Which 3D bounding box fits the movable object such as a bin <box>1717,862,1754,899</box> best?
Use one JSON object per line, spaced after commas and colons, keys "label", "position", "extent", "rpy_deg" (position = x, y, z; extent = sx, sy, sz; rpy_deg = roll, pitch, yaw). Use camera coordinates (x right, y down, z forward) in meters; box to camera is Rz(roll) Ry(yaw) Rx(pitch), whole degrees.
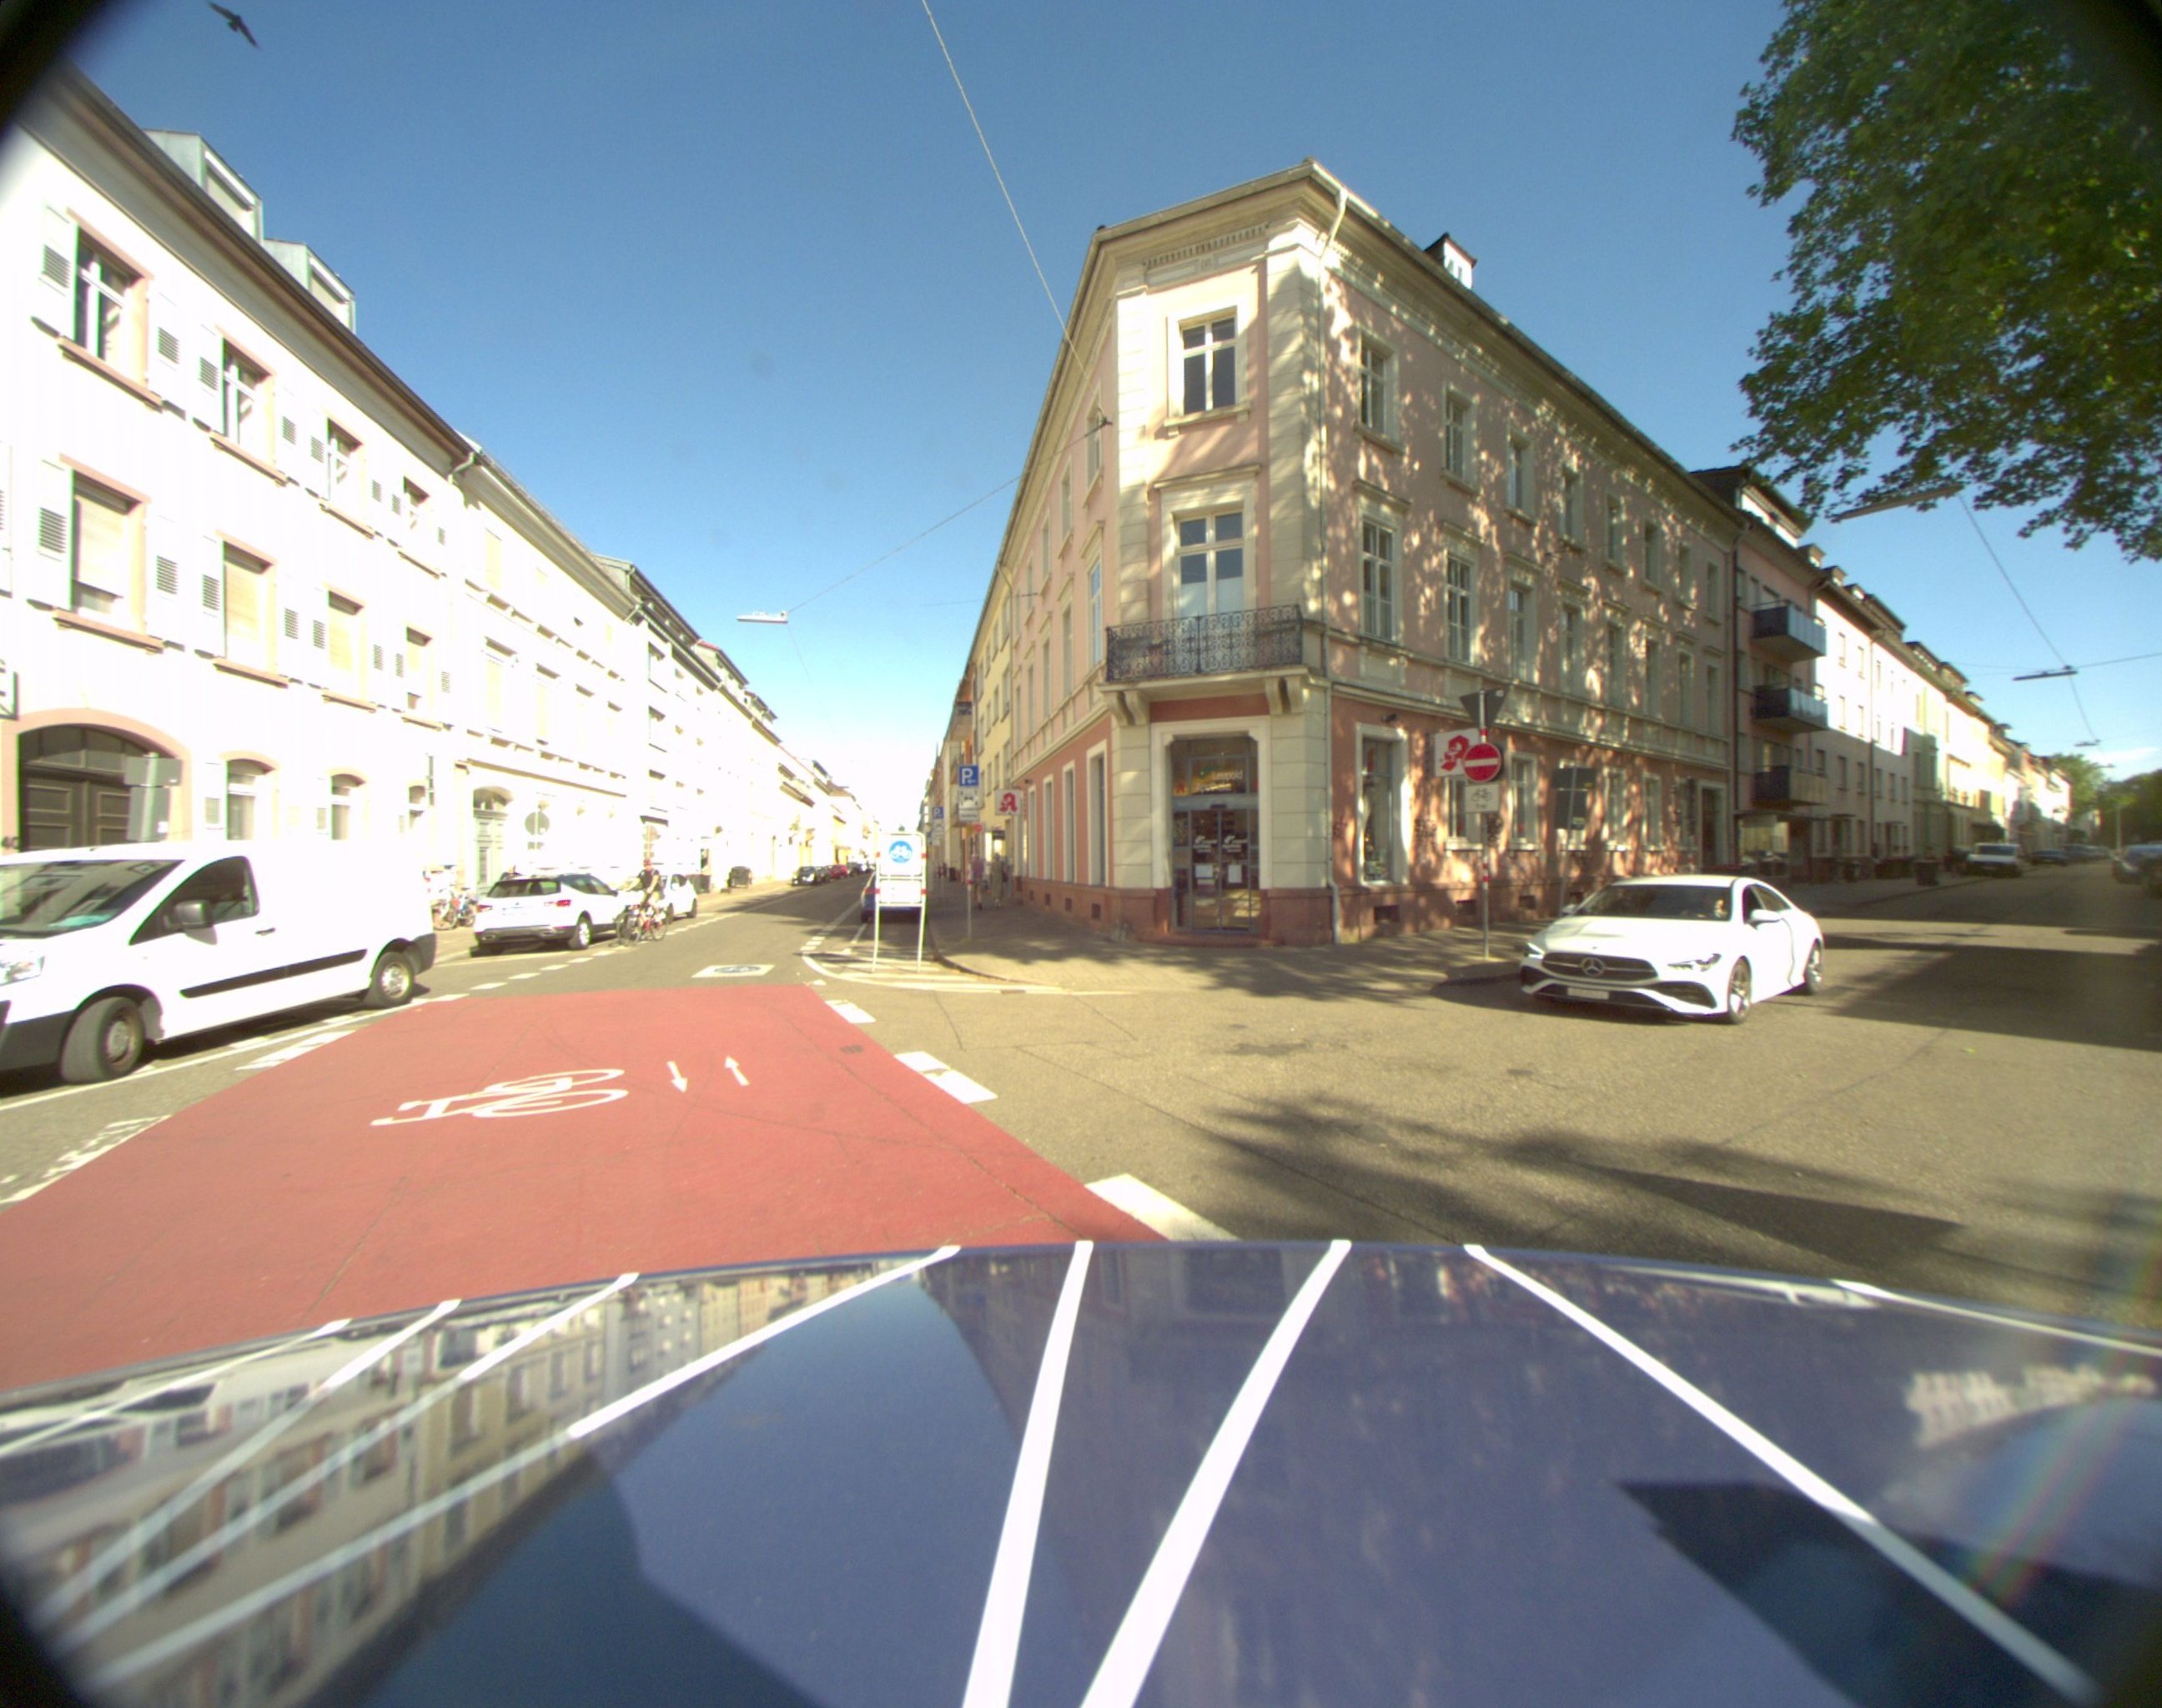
{"label": "movable object such as a bin", "position": [20.418, 0.812, 23.722], "extent": [0.620, 1.078, 0.716], "rpy_deg": [-1, 3, -37]}

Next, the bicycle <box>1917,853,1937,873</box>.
{"label": "bicycle", "position": [46.358, 0.494, 41.640], "extent": [1.936, 1.089, 0.489], "rpy_deg": [-1, 0, -35]}

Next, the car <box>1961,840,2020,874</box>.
{"label": "car", "position": [52.468, 0.150, 43.809], "extent": [4.335, 1.843, 1.762], "rpy_deg": [-1, 0, -35]}

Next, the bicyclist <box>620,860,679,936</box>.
{"label": "bicyclist", "position": [-9.084, 0.911, 16.033], "extent": [0.638, 1.537, 1.025], "rpy_deg": [-1, 0, -2]}

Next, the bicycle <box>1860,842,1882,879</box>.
{"label": "bicycle", "position": [37.764, 0.280, 36.328], "extent": [2.110, 1.725, 0.402], "rpy_deg": [-1, 0, -35]}

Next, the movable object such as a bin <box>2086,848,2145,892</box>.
{"label": "movable object such as a bin", "position": [36.613, 0.543, 26.922], "extent": [1.563, 1.491, 1.219], "rpy_deg": [-1, 0, -37]}

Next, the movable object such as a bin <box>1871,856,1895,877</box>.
{"label": "movable object such as a bin", "position": [39.496, 0.601, 37.429], "extent": [0.547, 0.997, 0.715], "rpy_deg": [-1, 3, -37]}

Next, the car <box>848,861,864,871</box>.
{"label": "car", "position": [-28.872, 1.503, 97.711], "extent": [1.708, 1.292, 3.635], "rpy_deg": [-1, 0, -13]}

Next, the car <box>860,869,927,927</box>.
{"label": "car", "position": [-5.458, 1.222, 22.290], "extent": [1.708, 1.425, 3.634], "rpy_deg": [2, 0, -13]}

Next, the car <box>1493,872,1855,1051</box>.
{"label": "car", "position": [6.837, 0.986, 8.613], "extent": [4.570, 1.448, 1.859], "rpy_deg": [-1, -1, -34]}

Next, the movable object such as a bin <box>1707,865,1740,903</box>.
{"label": "movable object such as a bin", "position": [18.950, 0.881, 22.407], "extent": [0.613, 1.053, 0.569], "rpy_deg": [-1, 3, -37]}

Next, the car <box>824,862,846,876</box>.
{"label": "car", "position": [-23.626, 1.445, 73.103], "extent": [1.708, 1.292, 3.635], "rpy_deg": [-1, 0, -13]}

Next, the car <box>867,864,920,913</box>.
{"label": "car", "position": [-6.723, 1.196, 27.453], "extent": [1.708, 1.528, 3.634], "rpy_deg": [2, 0, -13]}

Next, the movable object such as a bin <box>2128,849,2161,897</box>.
{"label": "movable object such as a bin", "position": [34.612, 0.599, 24.314], "extent": [1.881, 1.491, 1.238], "rpy_deg": [-1, 0, -37]}

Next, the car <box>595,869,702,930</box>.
{"label": "car", "position": [-12.397, 1.242, 22.028], "extent": [1.632, 1.532, 3.635], "rpy_deg": [-2, 0, -13]}

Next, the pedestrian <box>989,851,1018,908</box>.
{"label": "pedestrian", "position": [-2.448, 0.803, 24.099], "extent": [0.830, 1.754, 0.752], "rpy_deg": [-1, 0, 0]}

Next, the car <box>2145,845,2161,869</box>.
{"label": "car", "position": [78.891, 0.172, 55.221], "extent": [4.335, 1.698, 1.762], "rpy_deg": [-1, 0, -35]}

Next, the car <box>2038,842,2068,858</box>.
{"label": "car", "position": [103.957, -0.414, 81.261], "extent": [4.335, 1.698, 1.762], "rpy_deg": [-1, 0, -36]}

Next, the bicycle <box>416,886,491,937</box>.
{"label": "bicycle", "position": [-15.311, 1.364, 18.604], "extent": [0.417, 1.088, 2.221], "rpy_deg": [-1, 0, -12]}

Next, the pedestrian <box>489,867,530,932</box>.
{"label": "pedestrian", "position": [-14.360, 1.134, 19.107], "extent": [0.585, 1.591, 0.639], "rpy_deg": [-1, 0, -12]}

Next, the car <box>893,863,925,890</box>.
{"label": "car", "position": [-10.168, 1.302, 44.945], "extent": [1.708, 1.425, 3.634], "rpy_deg": [2, 0, -13]}

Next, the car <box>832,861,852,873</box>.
{"label": "car", "position": [-25.403, 1.353, 80.902], "extent": [1.708, 1.292, 3.635], "rpy_deg": [-1, 0, -13]}

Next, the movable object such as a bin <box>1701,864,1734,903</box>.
{"label": "movable object such as a bin", "position": [18.489, 0.840, 22.067], "extent": [0.656, 1.078, 0.569], "rpy_deg": [-1, 3, -37]}

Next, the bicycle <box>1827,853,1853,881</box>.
{"label": "bicycle", "position": [31.806, 0.532, 31.844], "extent": [2.028, 1.143, 0.402], "rpy_deg": [-1, 0, -35]}

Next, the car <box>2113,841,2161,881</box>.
{"label": "car", "position": [47.909, 0.286, 34.074], "extent": [4.335, 1.698, 1.762], "rpy_deg": [-1, 0, -35]}

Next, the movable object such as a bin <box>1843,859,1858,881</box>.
{"label": "movable object such as a bin", "position": [33.810, 0.686, 33.385], "extent": [0.302, 0.935, 0.415], "rpy_deg": [-1, 3, -37]}

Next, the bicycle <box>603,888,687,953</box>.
{"label": "bicycle", "position": [-9.073, 1.347, 15.902], "extent": [0.672, 1.192, 1.925], "rpy_deg": [-1, 0, -2]}

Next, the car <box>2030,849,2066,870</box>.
{"label": "car", "position": [83.885, 0.481, 65.900], "extent": [4.335, 1.698, 1.762], "rpy_deg": [-1, 0, -36]}

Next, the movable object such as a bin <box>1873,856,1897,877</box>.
{"label": "movable object such as a bin", "position": [39.975, 0.613, 37.778], "extent": [0.547, 0.997, 0.715], "rpy_deg": [-1, 3, -37]}

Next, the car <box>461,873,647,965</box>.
{"label": "car", "position": [-10.824, 1.225, 16.013], "extent": [1.646, 1.532, 4.378], "rpy_deg": [-2, 0, -13]}

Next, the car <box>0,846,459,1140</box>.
{"label": "car", "position": [-8.547, 0.949, 7.073], "extent": [2.051, 1.934, 5.021], "rpy_deg": [-1, 0, -10]}

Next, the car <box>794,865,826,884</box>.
{"label": "car", "position": [-19.614, 1.480, 55.147], "extent": [1.708, 1.292, 3.635], "rpy_deg": [-1, 0, -13]}

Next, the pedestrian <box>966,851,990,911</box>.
{"label": "pedestrian", "position": [-3.241, 0.832, 24.028], "extent": [0.571, 1.846, 0.706], "rpy_deg": [-3, 1, -2]}
